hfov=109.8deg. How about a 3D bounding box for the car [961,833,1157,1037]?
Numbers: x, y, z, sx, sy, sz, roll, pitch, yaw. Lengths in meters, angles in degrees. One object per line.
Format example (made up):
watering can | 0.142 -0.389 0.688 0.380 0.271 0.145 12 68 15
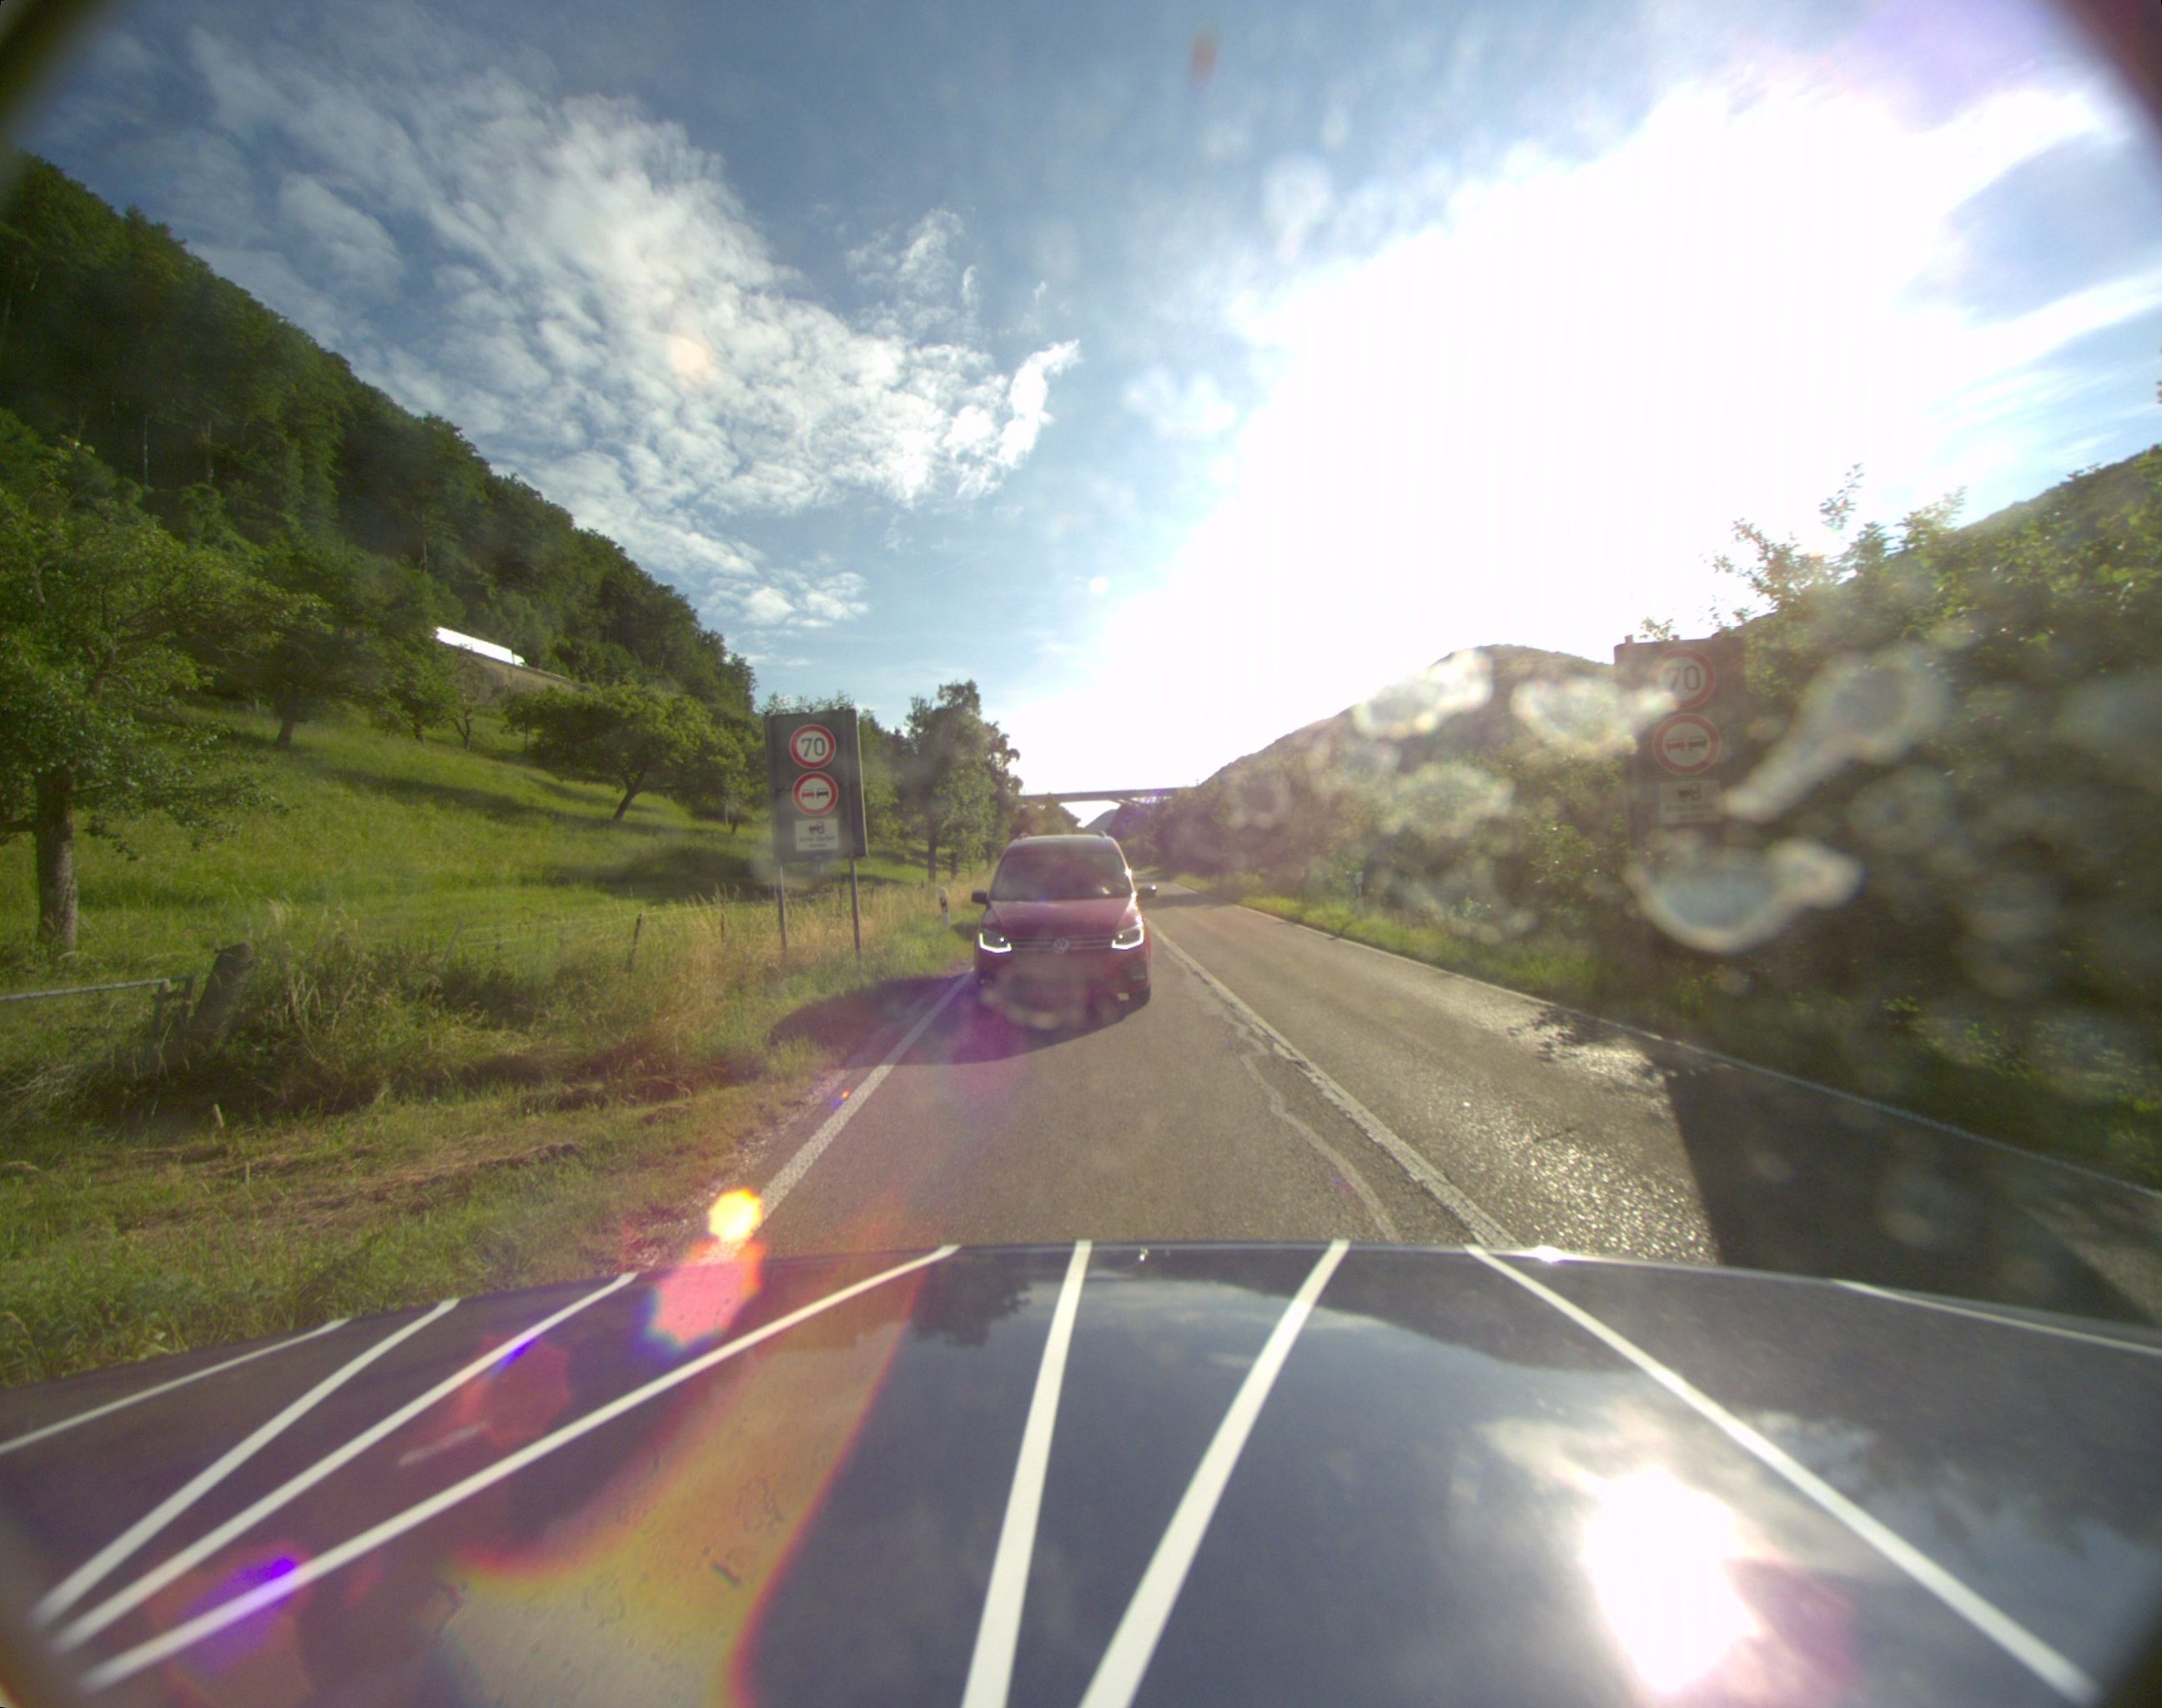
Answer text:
car | -0.228 0.734 8.865 1.741 1.803 3.999 -1 0 -1

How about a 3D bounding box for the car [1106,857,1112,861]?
car | 8.607 1.570 236.922 1.696 1.401 3.663 -1 1 1

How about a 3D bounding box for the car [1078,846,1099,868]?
car | 0.724 0.270 76.847 1.998 2.002 3.999 -2 1 0
